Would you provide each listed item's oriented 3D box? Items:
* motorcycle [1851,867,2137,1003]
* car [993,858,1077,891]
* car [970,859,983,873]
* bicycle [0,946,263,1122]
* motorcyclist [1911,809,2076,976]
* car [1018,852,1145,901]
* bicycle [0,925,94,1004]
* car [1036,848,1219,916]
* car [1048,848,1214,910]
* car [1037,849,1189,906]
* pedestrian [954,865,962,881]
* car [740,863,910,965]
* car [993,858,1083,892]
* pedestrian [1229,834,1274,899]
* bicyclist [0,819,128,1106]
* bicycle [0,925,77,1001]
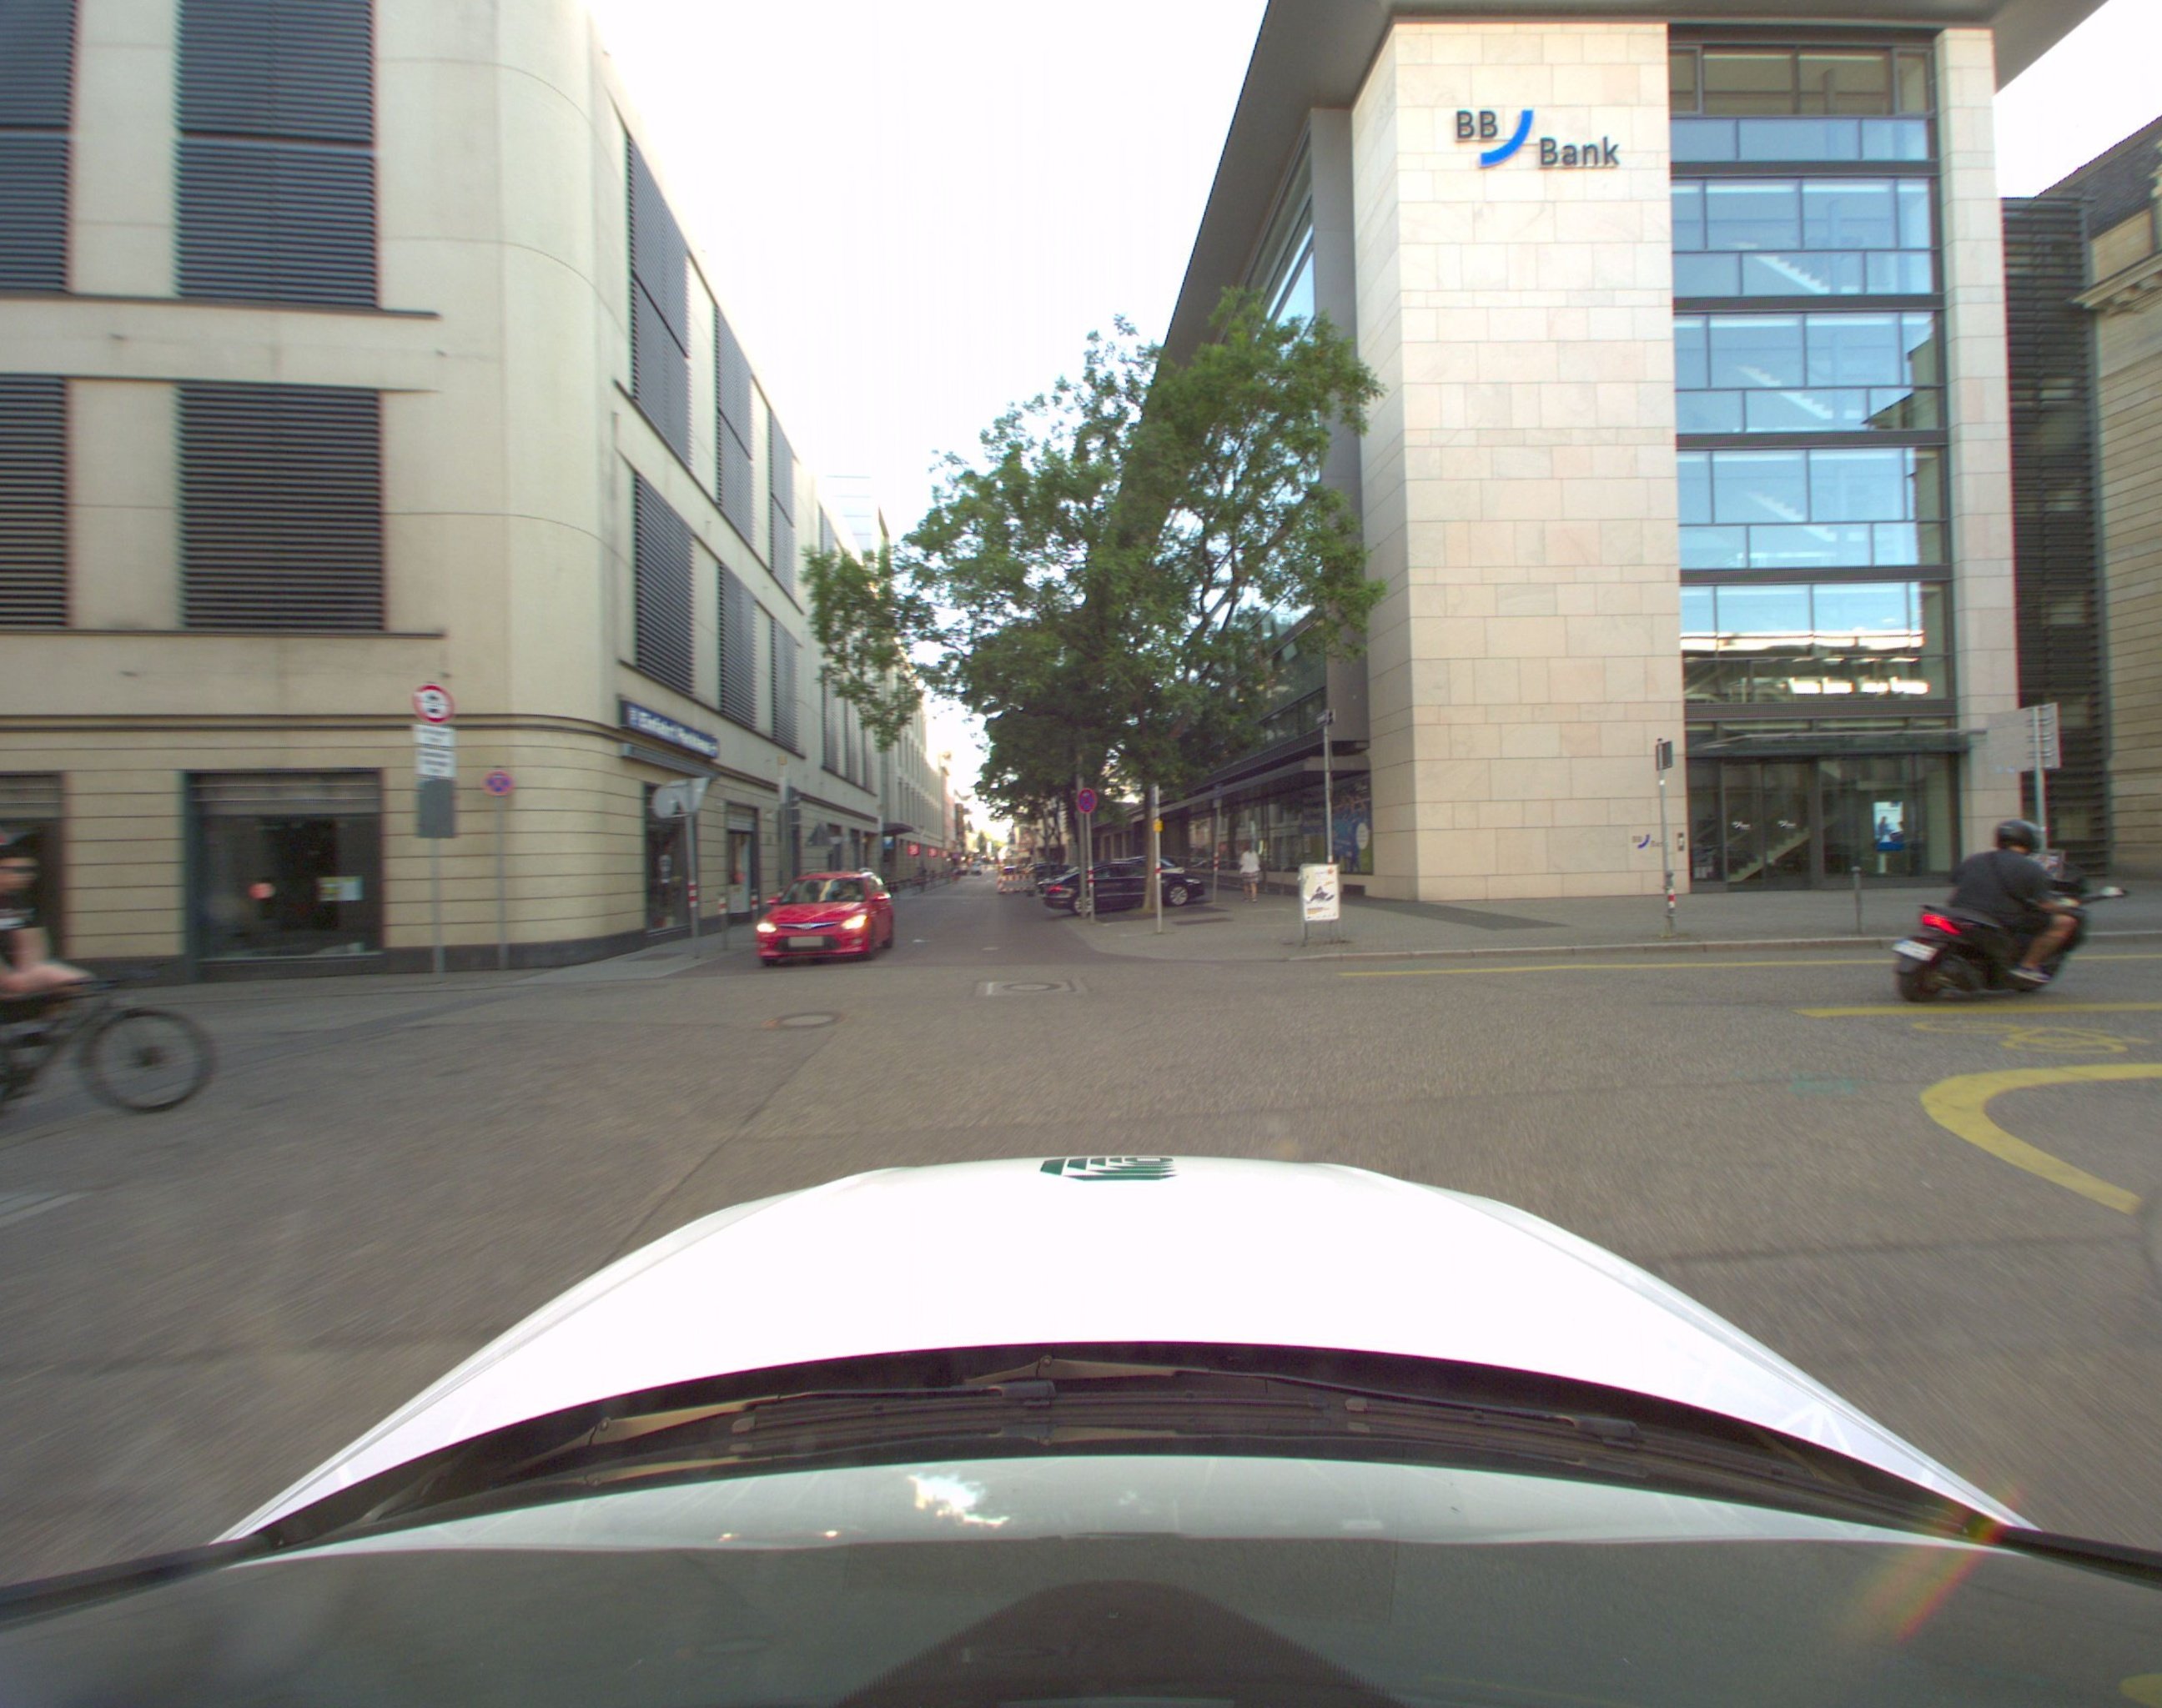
[{"bbox_3d":[8.276,0.692,7.428,1.833,1.109,0.872,-1,-1,-9],"label":"motorcycle"},{"bbox_3d":[-2.879,1.260,50.428,5.002,1.499,1.994,-5,-1,-8],"label":"car"},{"bbox_3d":[-17.311,1.954,134.922,1.992,2.329,5.007,0,-1,-8],"label":"car"},{"bbox_3d":[-6.503,1.135,5.180,1.817,0.973,0.509,-1,-1,-14],"label":"bicycle"},{"bbox_3d":[8.302,0.334,7.448,0.454,1.427,0.867,-1,-1,-9],"label":"motorcyclist"},{"bbox_3d":[-0.021,0.920,34.144,5.002,1.499,1.994,-5,-1,-8],"label":"car"},{"bbox_3d":[-15.514,1.617,11.794,0.349,1.033,1.525,-2,0,15],"label":"bicycle"},{"bbox_3d":[1.305,0.784,24.035,5.002,1.451,1.994,-5,-1,-8],"label":"car"},{"bbox_3d":[1.562,0.790,26.548,5.002,1.499,1.994,-5,-1,-8],"label":"car"},{"bbox_3d":[1.081,0.805,28.781,5.002,1.499,1.994,-5,-1,-8],"label":"car"},{"bbox_3d":[-12.039,1.859,79.479,0.731,1.574,0.635,-1,-1,-5],"label":"pedestrian"},{"bbox_3d":[-4.280,0.978,14.327,1.818,1.465,4.258,-2,-2,-3],"label":"car"},{"bbox_3d":[-2.564,1.209,47.906,5.002,1.499,1.994,-5,-1,-8],"label":"car"},{"bbox_3d":[4.742,0.343,22.682,0.904,1.706,0.833,-4,-1,-4],"label":"pedestrian"},{"bbox_3d":[-6.625,0.658,5.164,0.551,1.732,0.499,-1,-1,-14],"label":"bicyclist"},{"bbox_3d":[-15.886,1.625,11.885,0.349,1.033,1.525,-2,0,15],"label":"bicycle"}]
